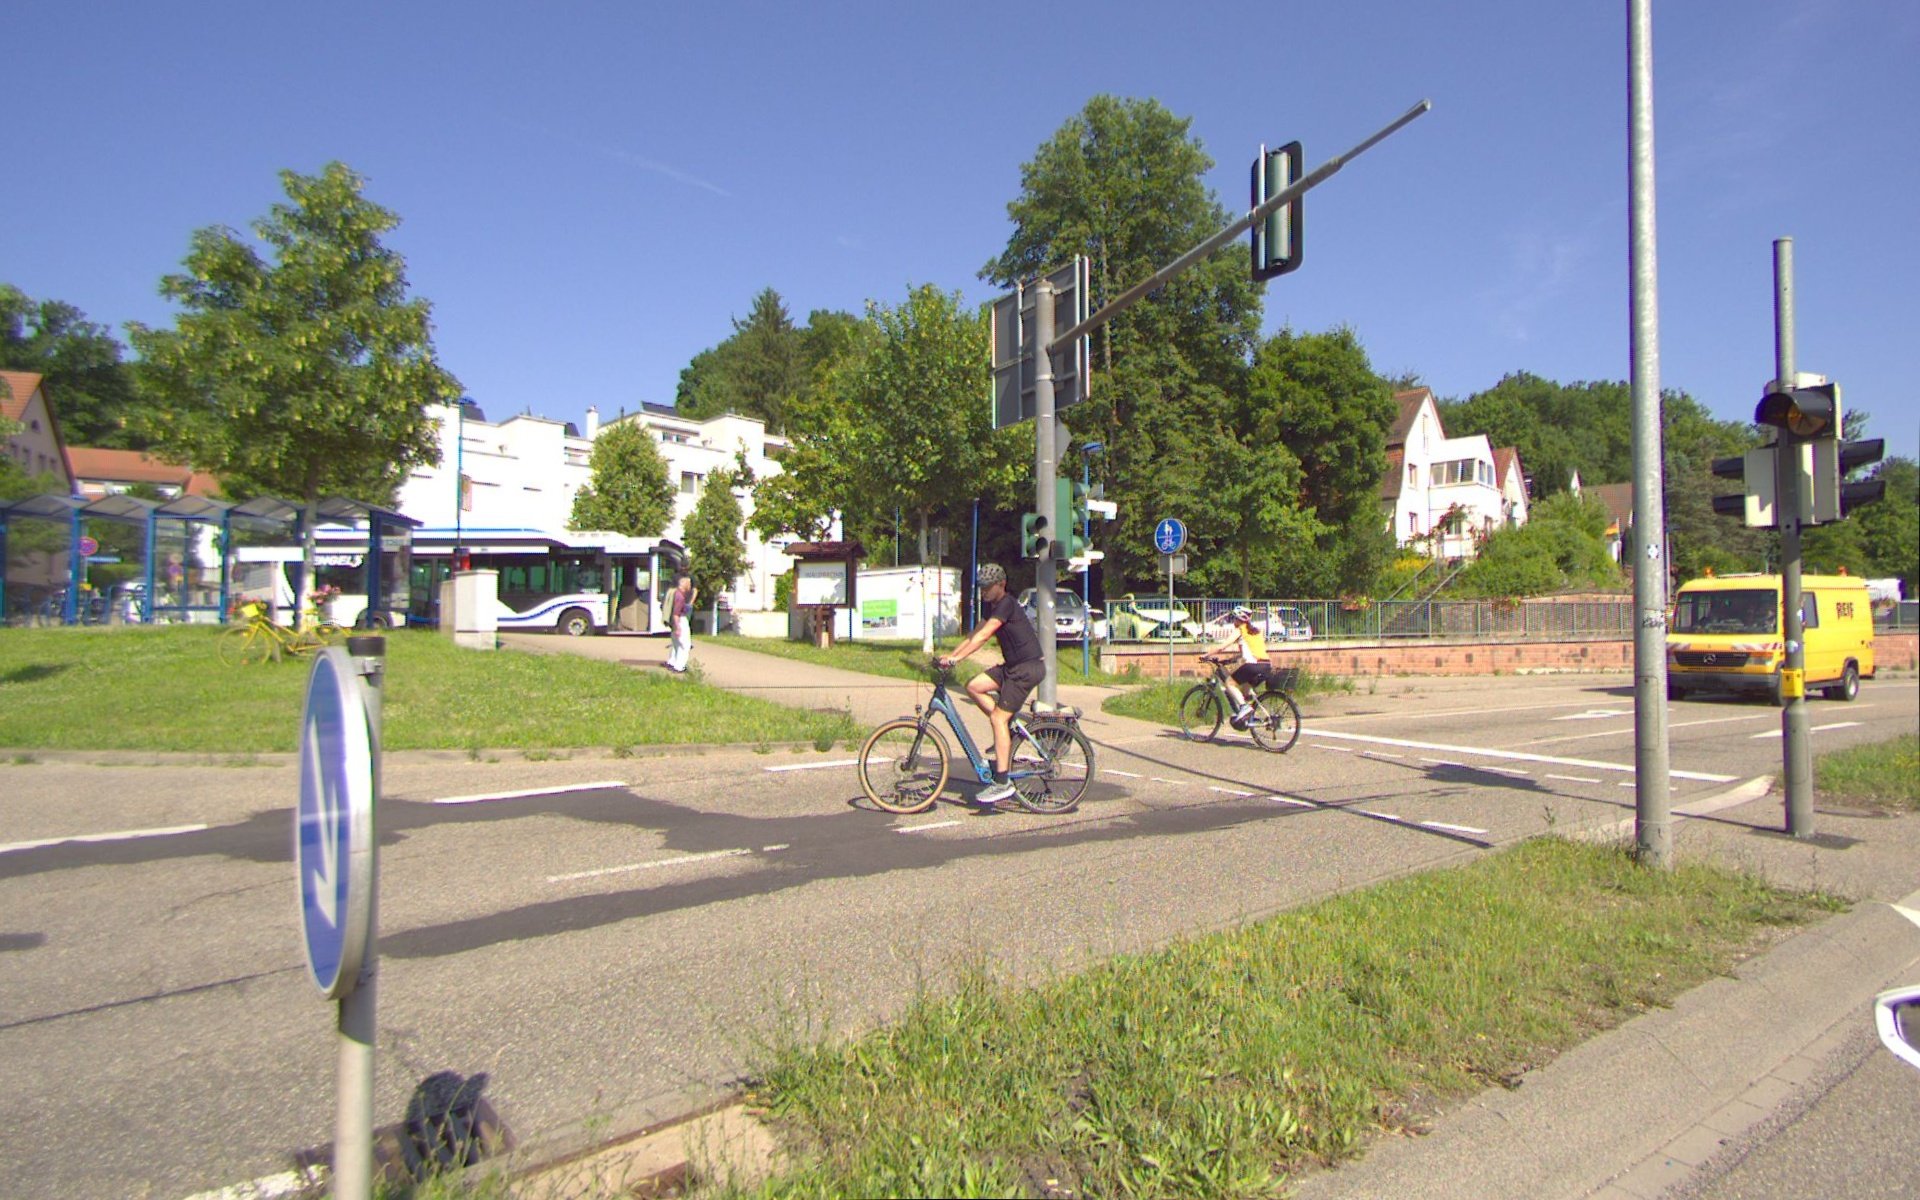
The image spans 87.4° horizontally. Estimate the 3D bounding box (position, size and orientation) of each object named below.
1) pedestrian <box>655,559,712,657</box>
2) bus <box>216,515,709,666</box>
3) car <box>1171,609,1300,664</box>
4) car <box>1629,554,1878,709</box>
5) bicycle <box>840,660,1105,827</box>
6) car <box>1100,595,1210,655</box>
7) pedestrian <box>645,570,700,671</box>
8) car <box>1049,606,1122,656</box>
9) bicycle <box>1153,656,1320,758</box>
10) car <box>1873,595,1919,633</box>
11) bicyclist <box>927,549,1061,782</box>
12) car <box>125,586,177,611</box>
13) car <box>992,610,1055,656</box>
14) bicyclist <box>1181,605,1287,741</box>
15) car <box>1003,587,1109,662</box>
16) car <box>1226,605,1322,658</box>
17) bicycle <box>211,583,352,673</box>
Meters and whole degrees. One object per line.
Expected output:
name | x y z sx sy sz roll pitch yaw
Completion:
pedestrian | -5.638 0.159 20.483 0.849 1.933 0.733 2 2 -37
bus | -13.218 -0.254 27.363 11.977 3.764 2.869 1 1 0
car | 9.519 1.279 34.898 3.923 1.813 1.921 1 -2 -4
car | 17.926 0.702 22.578 6.396 3.051 2.453 2 -1 -33
bicycle | 0.086 1.090 7.826 1.961 1.178 0.735 1 1 -2
car | 4.979 0.595 26.203 1.877 1.400 3.997 1 0 -4
pedestrian | -5.020 0.346 17.544 0.734 1.700 0.706 0 1 -36
car | 4.727 1.140 38.503 1.878 1.724 3.995 0 1 -7
bicycle | 3.337 1.259 12.315 0.728 1.078 1.953 0 -1 -36
car | 51.121 0.731 54.188 4.690 1.946 2.005 0 1 -39
bicyclist | 0.249 0.484 7.827 0.973 1.713 0.807 1 1 -1
car | -61.412 -0.079 76.315 1.971 1.832 3.979 1 -1 -22
car | 2.339 1.210 38.176 1.877 1.581 3.997 1 0 -4
bicyclist | 3.361 0.872 12.358 0.799 1.585 0.947 0 -2 -36
car | 2.358 0.558 25.822 2.018 1.719 4.412 1 1 -4
car | 12.133 1.187 39.051 1.880 1.900 3.991 0 0 -11
bicycle | -10.449 0.405 15.549 1.736 1.273 0.615 -2 4 -31
